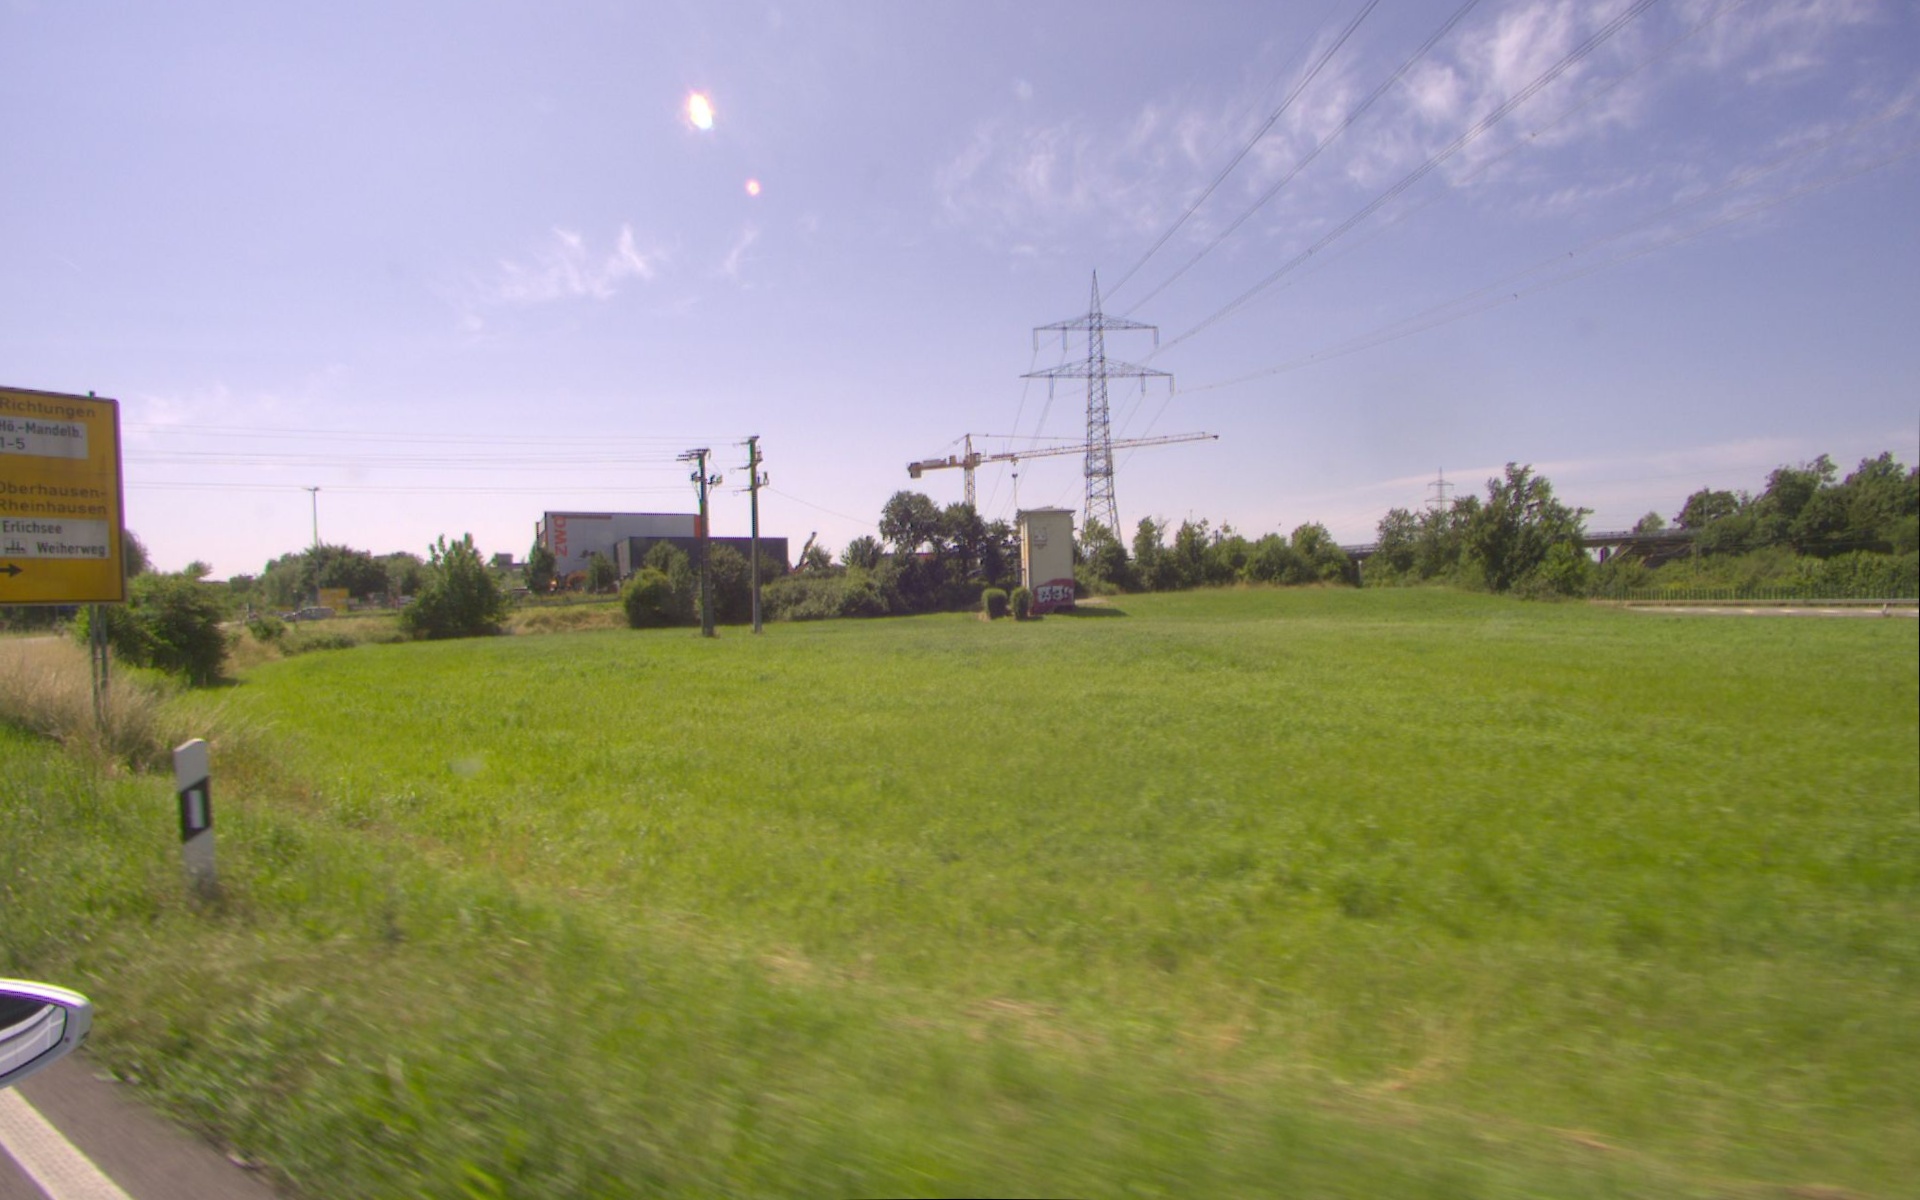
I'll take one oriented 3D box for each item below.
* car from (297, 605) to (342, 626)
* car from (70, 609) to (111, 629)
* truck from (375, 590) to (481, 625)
[{"bbox_3d":[-66.600,1.614,104.212,3.945,2.039,1.989,0,-2,-32],"label":"car"},{"bbox_3d":[-69.428,1.508,80.030,1.722,1.610,3.978,1,-1,-30],"label":"car"},{"bbox_3d":[-51.484,0.791,97.180,3.063,3.177,8.763,-2,-2,31],"label":"truck"}]
